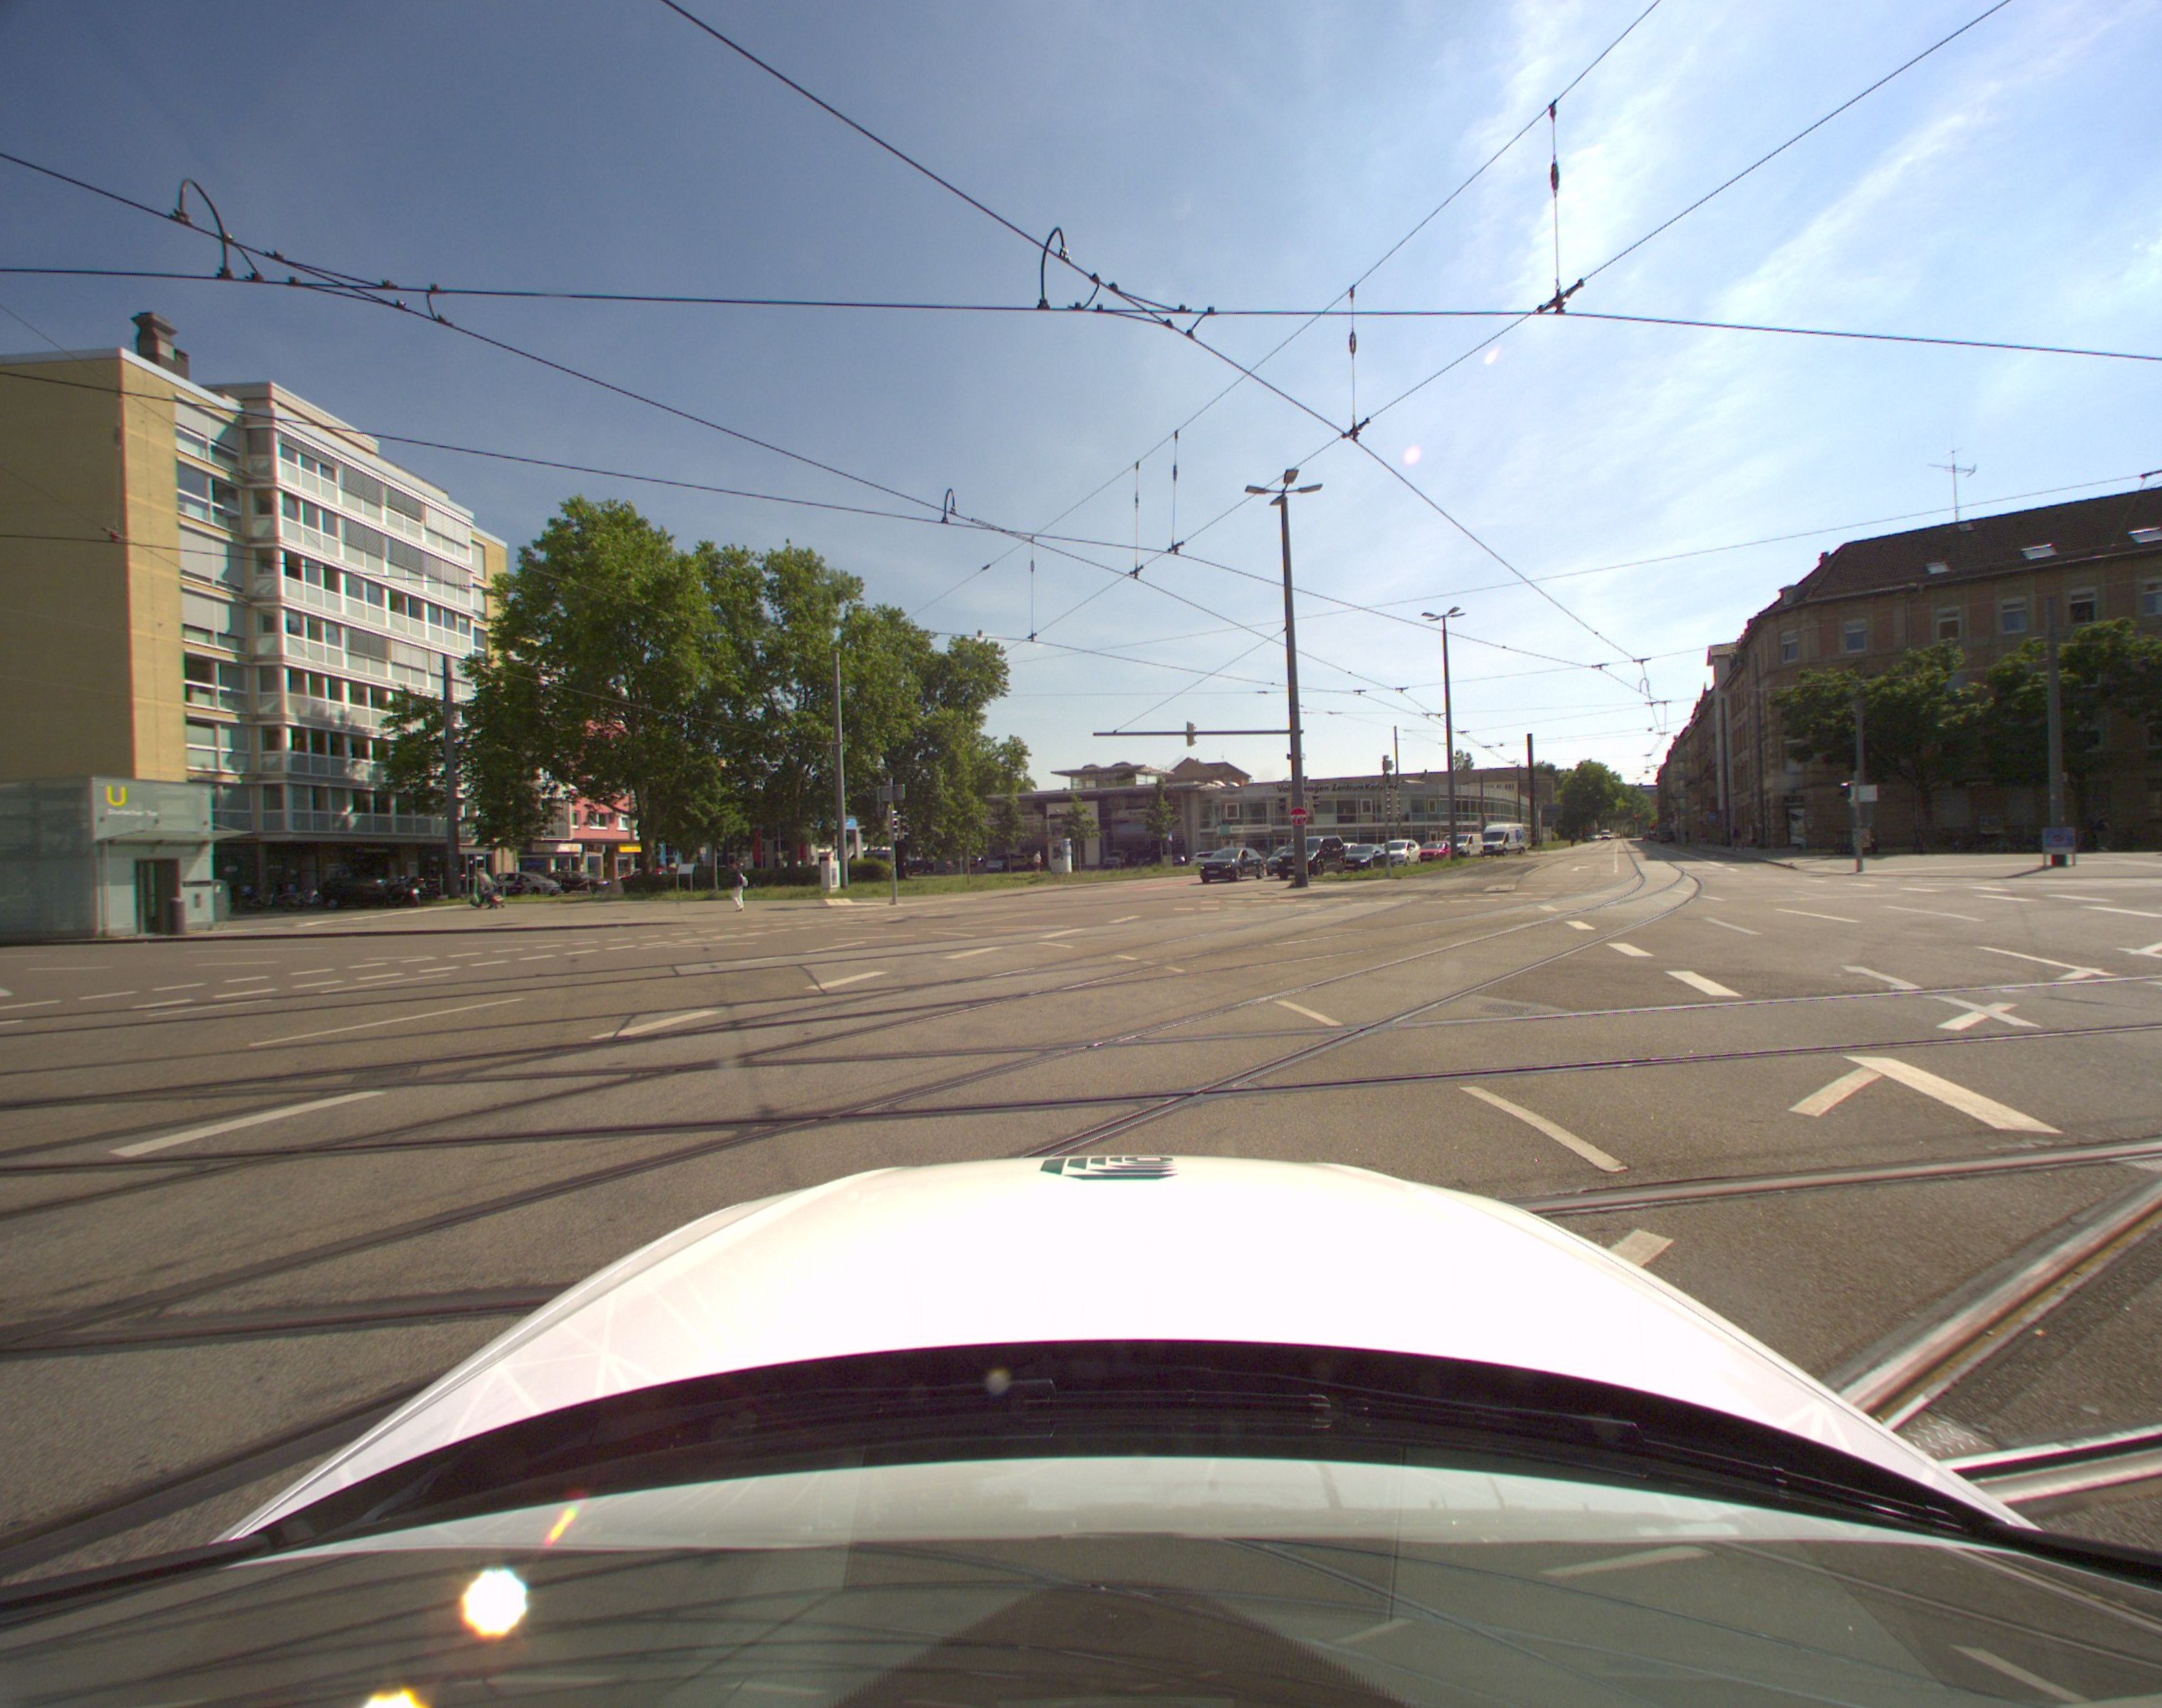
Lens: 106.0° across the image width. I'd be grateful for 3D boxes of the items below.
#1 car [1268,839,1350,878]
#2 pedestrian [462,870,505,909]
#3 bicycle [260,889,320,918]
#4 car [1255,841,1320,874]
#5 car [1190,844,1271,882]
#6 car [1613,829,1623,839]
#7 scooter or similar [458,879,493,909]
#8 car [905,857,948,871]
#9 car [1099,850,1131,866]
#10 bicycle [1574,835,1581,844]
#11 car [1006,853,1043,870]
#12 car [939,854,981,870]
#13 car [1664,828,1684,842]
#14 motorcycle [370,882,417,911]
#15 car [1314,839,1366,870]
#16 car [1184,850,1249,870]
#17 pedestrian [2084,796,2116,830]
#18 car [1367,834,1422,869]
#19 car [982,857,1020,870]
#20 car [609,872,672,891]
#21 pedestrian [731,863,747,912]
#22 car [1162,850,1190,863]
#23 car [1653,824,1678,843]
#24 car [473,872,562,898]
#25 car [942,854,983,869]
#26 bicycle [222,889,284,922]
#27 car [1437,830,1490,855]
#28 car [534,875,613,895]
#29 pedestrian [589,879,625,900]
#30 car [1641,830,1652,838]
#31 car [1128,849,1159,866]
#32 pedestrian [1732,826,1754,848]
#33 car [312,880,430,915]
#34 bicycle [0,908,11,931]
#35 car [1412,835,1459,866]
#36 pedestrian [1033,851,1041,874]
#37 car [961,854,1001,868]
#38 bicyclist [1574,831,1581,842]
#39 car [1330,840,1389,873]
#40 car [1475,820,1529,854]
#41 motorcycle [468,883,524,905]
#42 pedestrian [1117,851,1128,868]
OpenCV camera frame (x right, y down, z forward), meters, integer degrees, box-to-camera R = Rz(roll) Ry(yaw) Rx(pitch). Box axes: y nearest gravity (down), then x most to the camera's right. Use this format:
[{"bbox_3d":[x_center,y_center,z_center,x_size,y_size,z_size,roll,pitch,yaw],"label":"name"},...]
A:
[{"bbox_3d":[10.176,0.213,36.111,1.942,1.588,4.746,-2,-1,36],"label":"car"},{"bbox_3d":[-22.030,1.313,30.034,1.111,1.404,0.656,0,0,-3],"label":"pedestrian"},{"bbox_3d":[-33.926,2.101,34.972,0.578,1.085,1.763,-2,1,13],"label":"bicycle"},{"bbox_3d":[10.823,0.164,42.479,1.876,1.588,4.025,-2,-1,36],"label":"car"},{"bbox_3d":[6.794,0.394,36.735,1.873,1.588,4.237,-2,-1,36],"label":"car"},{"bbox_3d":[129.768,-4.863,196.782,1.813,2.213,4.026,-2,0,36],"label":"car"},{"bbox_3d":[-23.390,1.550,31.452,1.347,1.119,0.520,-2,0,29],"label":"scooter or similar"},{"bbox_3d":[-16.071,1.027,84.729,3.955,1.371,2.010,0,0,18],"label":"car"},{"bbox_3d":[3.230,0.364,76.576,1.978,1.486,4.019,0,0,18],"label":"car"},{"bbox_3d":[66.588,-1.935,109.285,0.744,1.194,2.857,0,0,33],"label":"bicycle"},{"bbox_3d":[-5.556,0.721,80.505,1.976,1.684,4.023,0,0,24],"label":"car"},{"bbox_3d":[-12.907,0.853,86.871,3.955,1.552,2.009,-2,0,17],"label":"car"},{"bbox_3d":[85.317,-2.729,117.223,2.088,2.013,4.025,0,0,34],"label":"car"},{"bbox_3d":[-27.020,1.679,32.021,2.012,1.062,0.644,-2,0,27],"label":"motorcycle"},{"bbox_3d":[15.509,0.031,48.644,1.635,1.739,4.227,-2,-1,36],"label":"car"},{"bbox_3d":[10.016,0.458,60.471,4.540,1.436,1.453,0,0,33],"label":"car"},{"bbox_3d":[44.991,-1.795,35.957,0.613,1.433,0.708,0,0,-18],"label":"pedestrian"},{"bbox_3d":[18.311,-0.113,47.494,1.876,1.917,4.227,-2,-1,36],"label":"car"},{"bbox_3d":[-7.898,0.941,80.895,1.976,1.244,4.023,0,0,24],"label":"car"},{"bbox_3d":[-32.697,2.058,60.547,3.708,1.340,1.745,0,0,2],"label":"car"},{"bbox_3d":[-11.300,1.109,26.929,0.454,1.605,0.398,0,0,-17],"label":"pedestrian"},{"bbox_3d":[8.690,0.194,74.244,1.816,1.195,4.019,0,0,18],"label":"car"},{"bbox_3d":[66.880,-2.349,93.270,1.974,2.013,4.025,0,0,31],"label":"car"},{"bbox_3d":[-33.185,1.827,48.021,3.971,1.440,1.892,0,0,2],"label":"car"},{"bbox_3d":[-13.043,0.851,89.760,3.955,1.508,2.009,-2,0,17],"label":"car"},{"bbox_3d":[-35.203,2.174,34.665,0.578,1.219,1.763,-2,1,13],"label":"bicycle"},{"bbox_3d":[28.055,-0.838,59.647,2.164,1.680,5.060,-3,0,42],"label":"car"},{"bbox_3d":[-32.691,1.985,52.533,3.971,1.270,1.745,0,0,2],"label":"car"},{"bbox_3d":[-22.347,1.683,38.385,1.168,0.892,0.822,-2,0,0],"label":"pedestrian"},{"bbox_3d":[143.754,-5.070,207.056,1.974,2.013,4.026,-2,0,38],"label":"car"},{"bbox_3d":[5.830,0.323,75.647,1.978,1.486,4.019,0,0,18],"label":"car"},{"bbox_3d":[44.622,-1.133,54.903,0.713,1.433,0.880,-2,0,-23],"label":"pedestrian"},{"bbox_3d":[-33.068,2.020,38.004,4.063,1.471,1.660,-2,-3,2],"label":"car"},{"bbox_3d":[-43.807,2.658,32.491,1.740,0.916,0.586,-3,1,9],"label":"bicycle"},{"bbox_3d":[23.369,-0.224,53.602,1.876,1.917,4.227,-2,-1,36],"label":"car"},{"bbox_3d":[-3.096,0.607,57.464,0.388,1.596,0.467,0,0,43],"label":"pedestrian"},{"bbox_3d":[-11.292,0.796,92.313,3.955,1.508,2.009,-2,0,17],"label":"car"},{"bbox_3d":[66.608,-2.337,109.313,0.744,1.568,1.094,0,0,33],"label":"bicyclist"},{"bbox_3d":[14.286,0.125,41.654,1.876,1.588,4.025,-2,-1,33],"label":"car"},{"bbox_3d":[33.671,-1.332,65.051,5.909,2.575,2.188,0,0,-45],"label":"car"},{"bbox_3d":[-26.611,1.815,37.071,2.048,0.842,0.633,-2,0,-37],"label":"motorcycle"},{"bbox_3d":[3.735,0.499,73.032,0.946,1.580,0.536,0,0,16],"label":"pedestrian"}]
